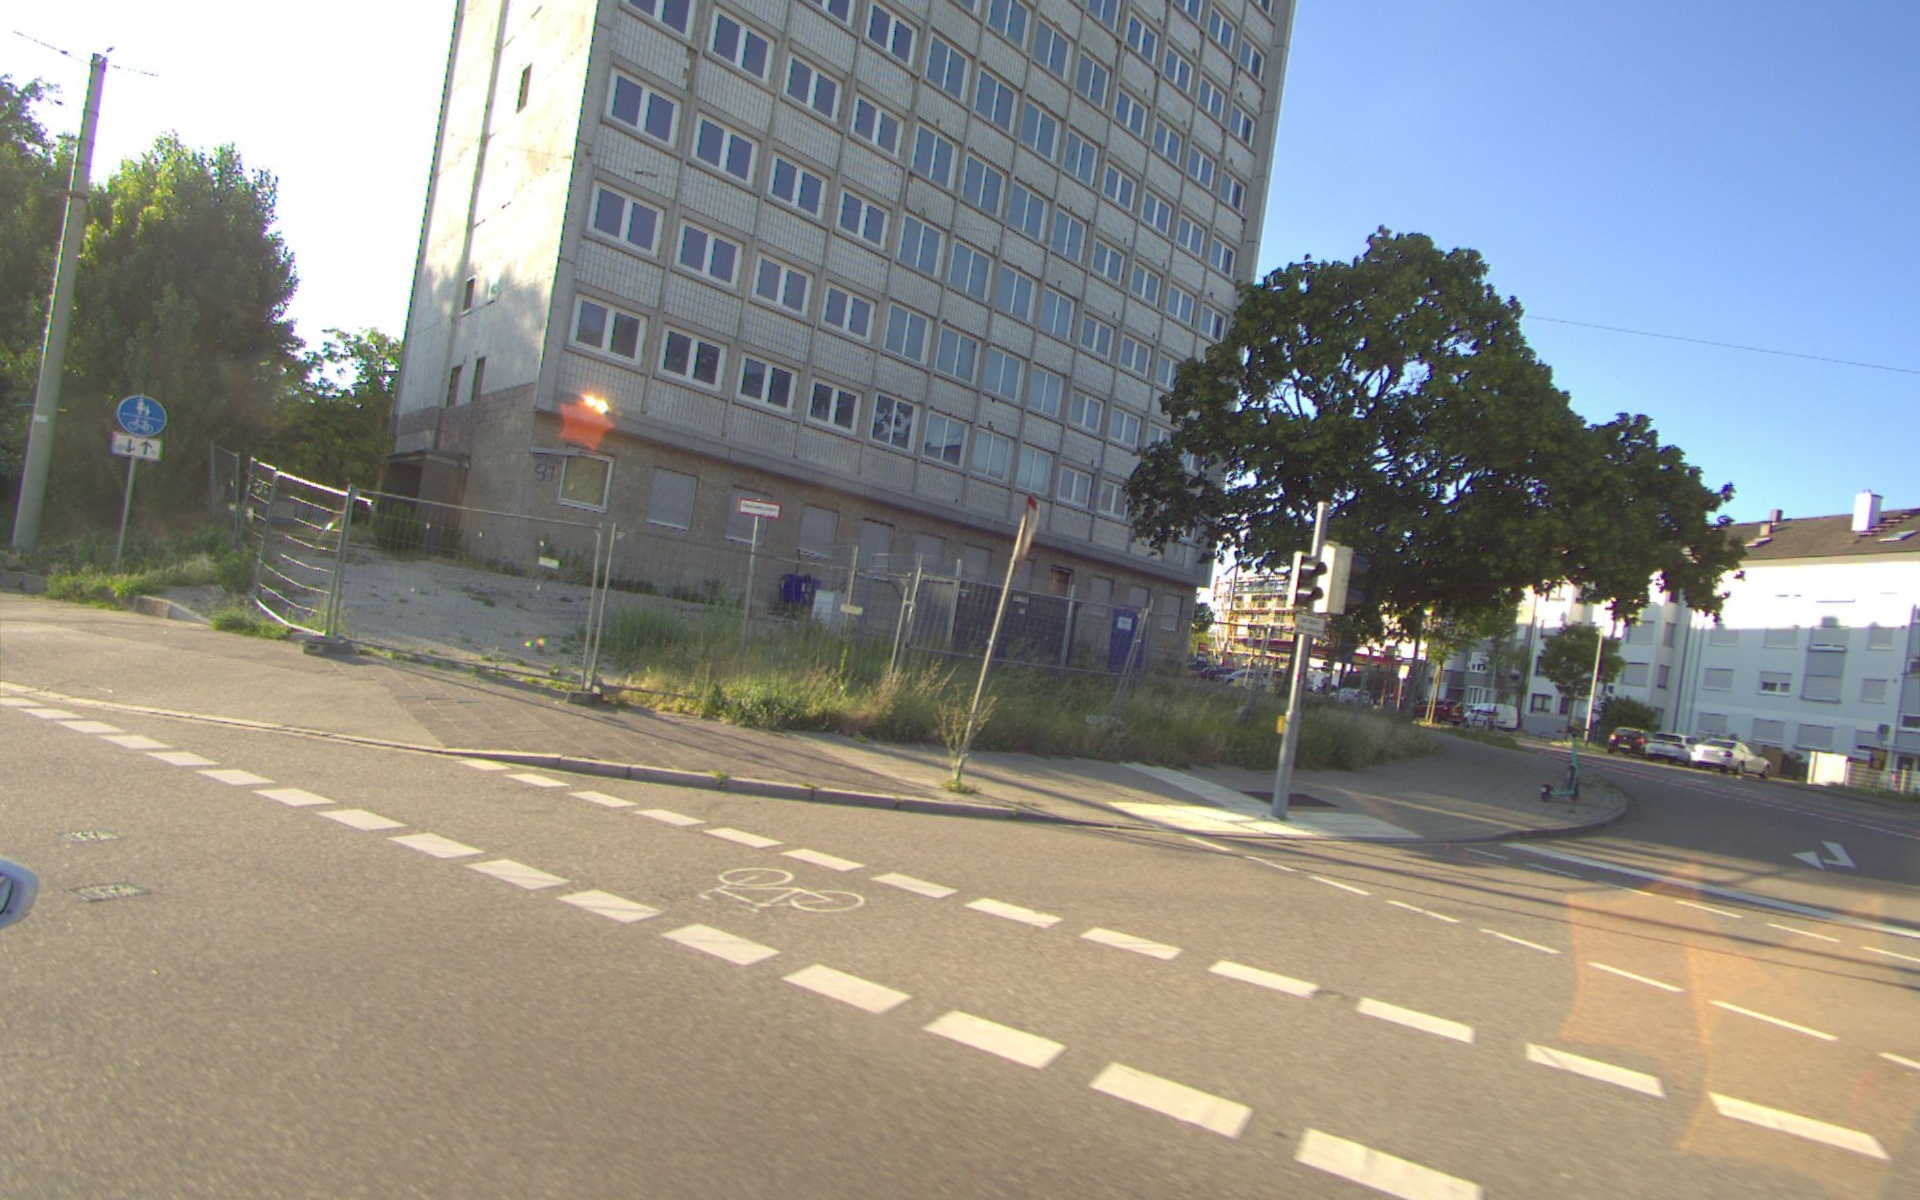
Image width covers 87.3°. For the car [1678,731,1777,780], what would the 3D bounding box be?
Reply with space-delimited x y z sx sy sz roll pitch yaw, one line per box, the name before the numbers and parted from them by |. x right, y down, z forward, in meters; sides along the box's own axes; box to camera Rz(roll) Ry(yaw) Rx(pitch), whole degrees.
car | 34.045 6.893 44.606 4.178 1.581 1.768 9 -1 -27

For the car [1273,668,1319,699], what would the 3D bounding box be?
car | 25.469 6.304 76.355 1.831 1.926 4.000 8 -1 -2

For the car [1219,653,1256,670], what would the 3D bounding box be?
car | 34.597 7.658 125.525 3.992 1.475 1.878 8 -1 -8

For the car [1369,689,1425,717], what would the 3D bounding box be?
car | 32.326 7.585 74.501 1.858 1.400 3.996 10 -2 -8

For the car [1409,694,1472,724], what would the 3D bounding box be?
car | 33.163 7.507 69.564 1.887 1.400 3.972 10 -2 -8

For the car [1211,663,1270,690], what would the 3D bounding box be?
car | 20.178 5.493 72.357 3.652 1.316 1.509 9 -1 -11

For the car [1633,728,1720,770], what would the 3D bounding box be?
car | 33.674 6.988 47.285 3.961 1.442 1.888 9 -2 -32

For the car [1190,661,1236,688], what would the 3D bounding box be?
car | 19.363 5.696 76.989 2.979 1.555 1.266 8 -1 -5

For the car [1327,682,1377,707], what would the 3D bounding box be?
car | 31.274 7.529 80.377 1.803 1.400 3.994 10 -2 -10

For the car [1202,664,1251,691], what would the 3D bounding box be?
car | 19.698 5.740 74.379 2.979 1.555 1.511 8 -1 -5

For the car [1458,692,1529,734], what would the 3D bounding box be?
car | 33.640 7.106 63.579 1.964 2.037 4.000 8 -2 -4

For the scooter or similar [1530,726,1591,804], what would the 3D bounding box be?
scooter or similar | 9.797 2.698 16.390 1.292 1.183 0.323 9 -1 -40

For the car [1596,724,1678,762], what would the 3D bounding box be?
car | 34.153 7.205 50.722 3.961 1.399 1.888 9 -2 -32
